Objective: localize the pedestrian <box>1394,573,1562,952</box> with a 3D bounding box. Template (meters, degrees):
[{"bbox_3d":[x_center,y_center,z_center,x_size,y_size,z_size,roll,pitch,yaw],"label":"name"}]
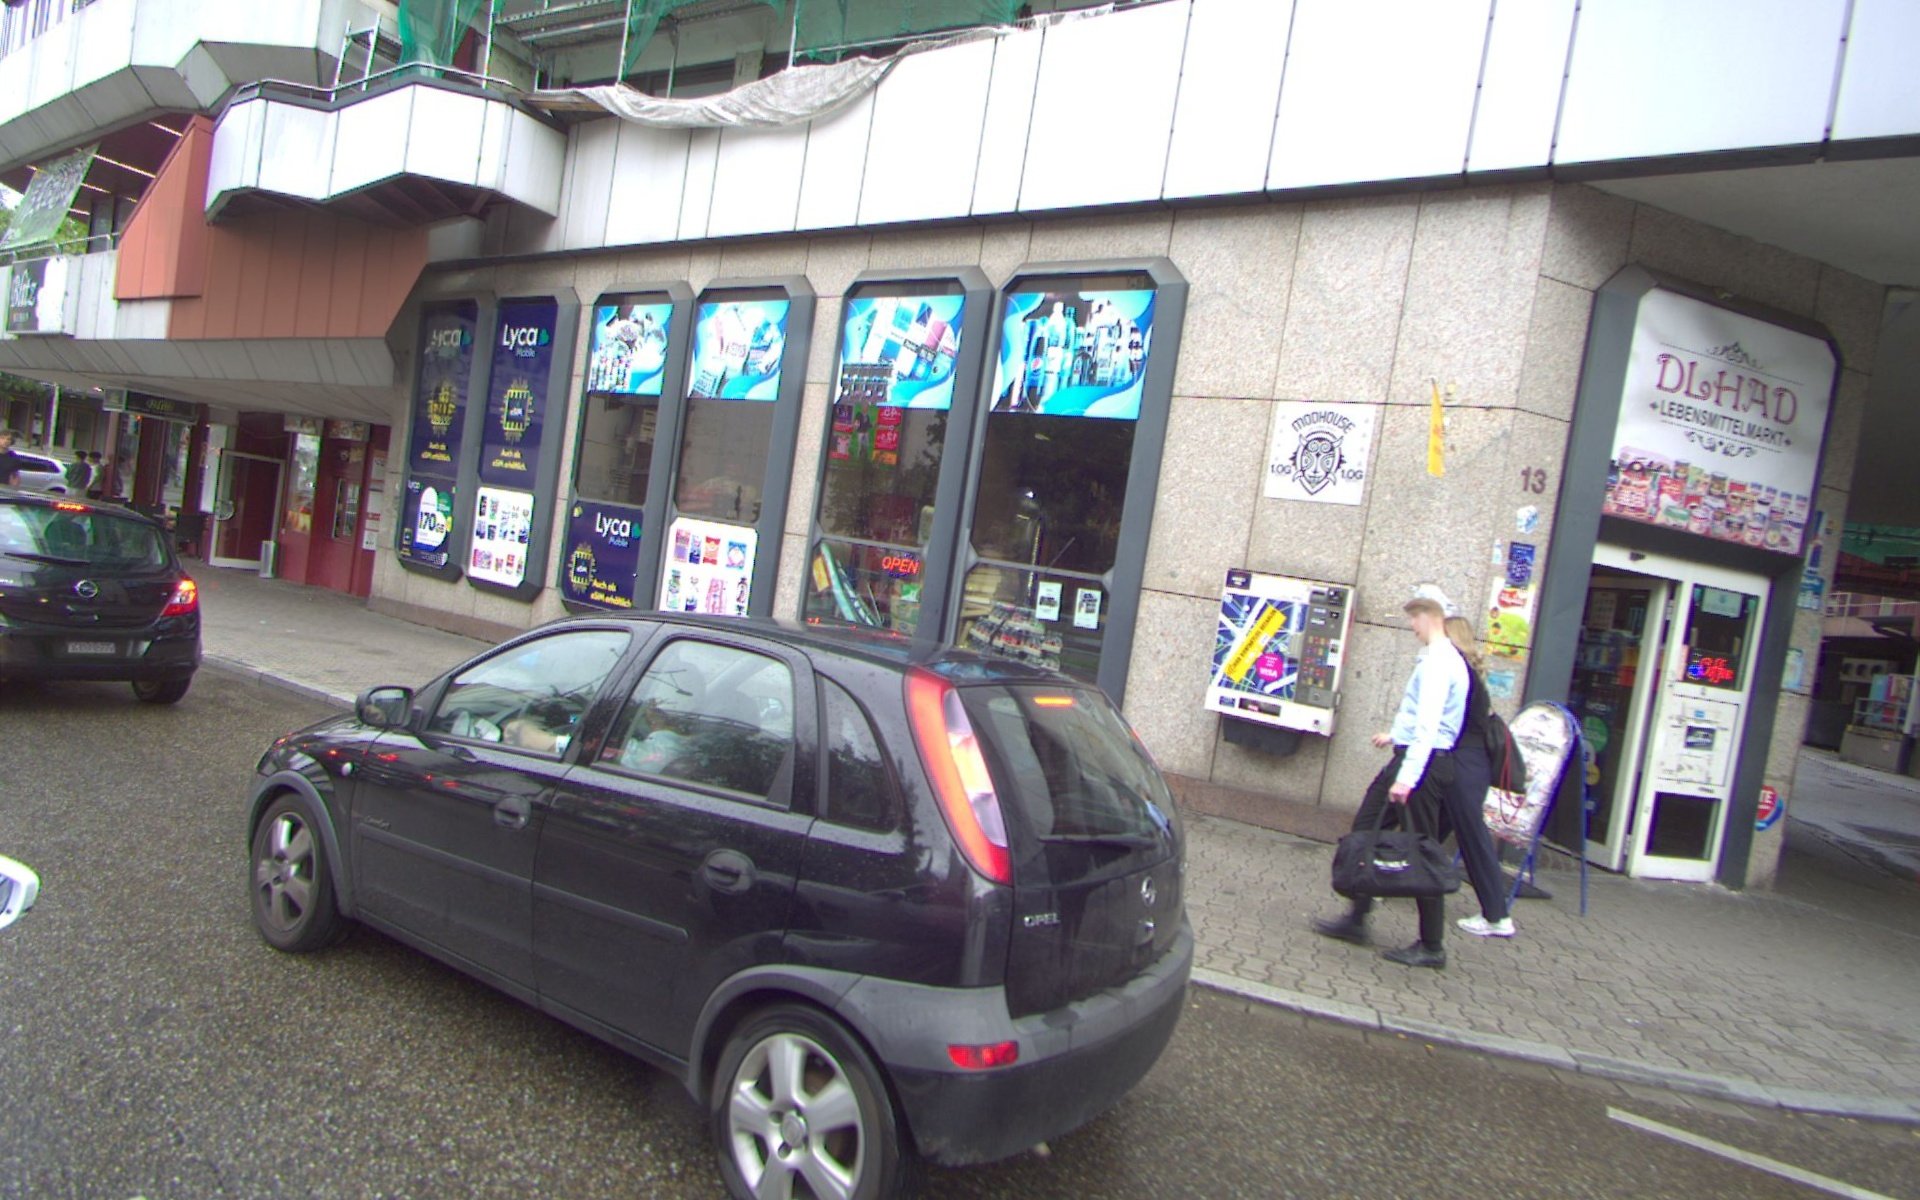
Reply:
[{"bbox_3d":[2.965,0.865,5.743,0.629,1.960,0.736,6,2,31],"label":"pedestrian"}]

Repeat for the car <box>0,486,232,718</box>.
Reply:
[{"bbox_3d":[-7.484,-0.158,7.620,3.776,1.446,1.620,8,-1,29],"label":"car"}]

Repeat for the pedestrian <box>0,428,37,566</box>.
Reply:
[{"bbox_3d":[-13.239,-1.427,13.835,0.763,1.841,0.739,7,4,43],"label":"pedestrian"}]

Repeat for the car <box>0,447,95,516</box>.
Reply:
[{"bbox_3d":[-26.553,-3.414,27.594,1.593,1.503,3.911,6,-2,19],"label":"car"}]

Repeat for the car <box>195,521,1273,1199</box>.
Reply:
[{"bbox_3d":[-0.970,0.690,3.612,3.563,1.446,1.609,8,-1,33],"label":"car"}]

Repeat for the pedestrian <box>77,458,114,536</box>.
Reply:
[{"bbox_3d":[-19.083,-2.265,22.204,0.496,1.660,0.396,6,1,32],"label":"pedestrian"}]

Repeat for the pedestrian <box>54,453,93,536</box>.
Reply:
[{"bbox_3d":[-19.050,-2.267,21.625,0.443,1.704,0.426,6,1,30],"label":"pedestrian"}]

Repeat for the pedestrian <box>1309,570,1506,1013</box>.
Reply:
[{"bbox_3d":[2.245,0.890,5.012,0.629,1.957,0.737,6,-1,31],"label":"pedestrian"}]
